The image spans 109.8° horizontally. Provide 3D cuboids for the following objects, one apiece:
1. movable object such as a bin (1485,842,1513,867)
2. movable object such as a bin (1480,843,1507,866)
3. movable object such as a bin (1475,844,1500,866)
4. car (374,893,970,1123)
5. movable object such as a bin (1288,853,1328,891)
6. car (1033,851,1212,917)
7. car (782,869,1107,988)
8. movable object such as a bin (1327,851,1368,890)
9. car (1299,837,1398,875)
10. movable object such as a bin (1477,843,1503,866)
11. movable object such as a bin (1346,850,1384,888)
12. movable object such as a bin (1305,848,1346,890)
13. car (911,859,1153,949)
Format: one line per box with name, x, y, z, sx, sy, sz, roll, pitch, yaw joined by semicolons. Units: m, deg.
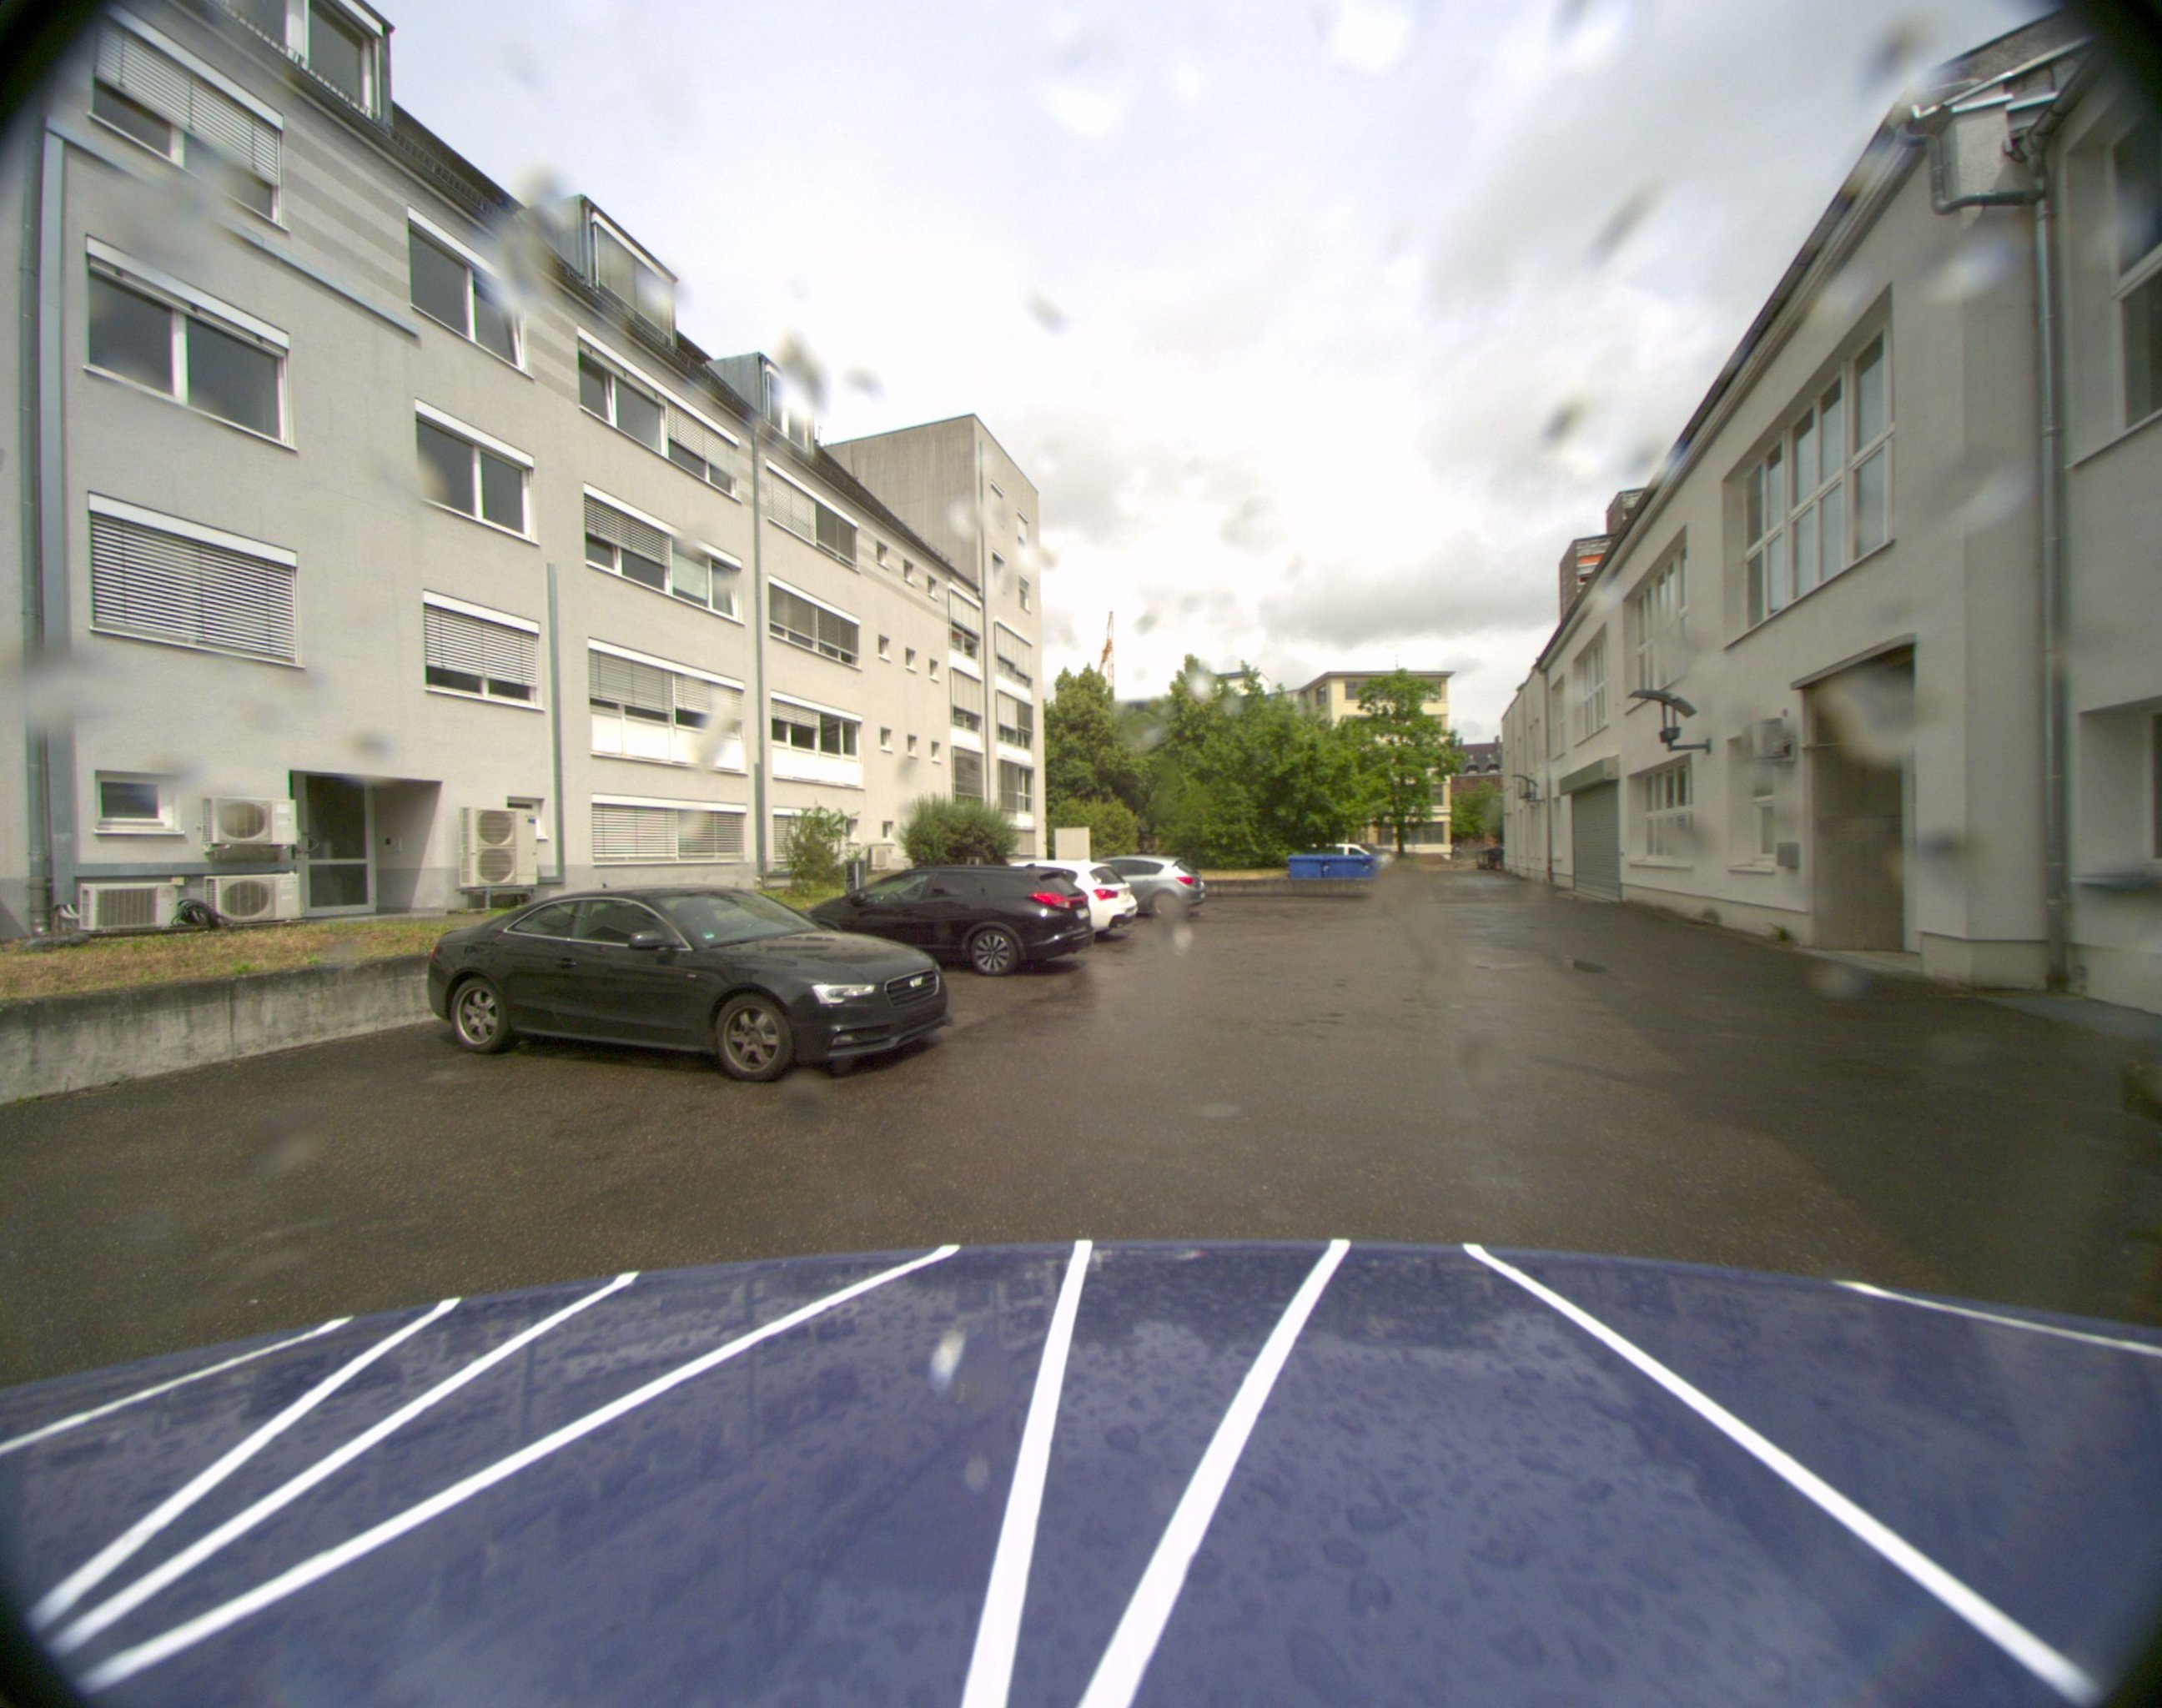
movable object such as a bin;26.146;0.030;47.582;1.361;1.462;1.368;-2;-1;23
movable object such as a bin;26.716;0.042;49.215;1.361;1.462;1.368;-2;-1;23
movable object such as a bin;28.544;0.059;53.354;1.410;1.462;1.563;-2;-1;23
car;-3.336;1.062;6.379;4.358;1.341;1.863;0;0;17
movable object such as a bin;7.968;0.614;26.620;1.230;1.309;1.057;0;0;23
car;1.038;0.693;18.841;4.084;1.450;1.670;0;2;20
car;-1.907;0.962;10.980;4.175;1.393;1.942;0;1;17
movable object such as a bin;9.170;0.568;26.113;1.230;1.309;1.057;0;0;23
car;14.933;0.125;42.384;4.940;2.002;2.003;-2;1;27
movable object such as a bin;27.892;0.052;51.818;1.361;1.462;1.467;-2;-1;23
movable object such as a bin;10.309;0.533;27.580;1.175;1.309;1.057;-2;-1;23
movable object such as a bin;8.971;0.543;27.849;1.276;1.474;1.103;-2;-1;23
car;-0.880;0.843;14.136;4.102;1.447;1.835;0;1;20
